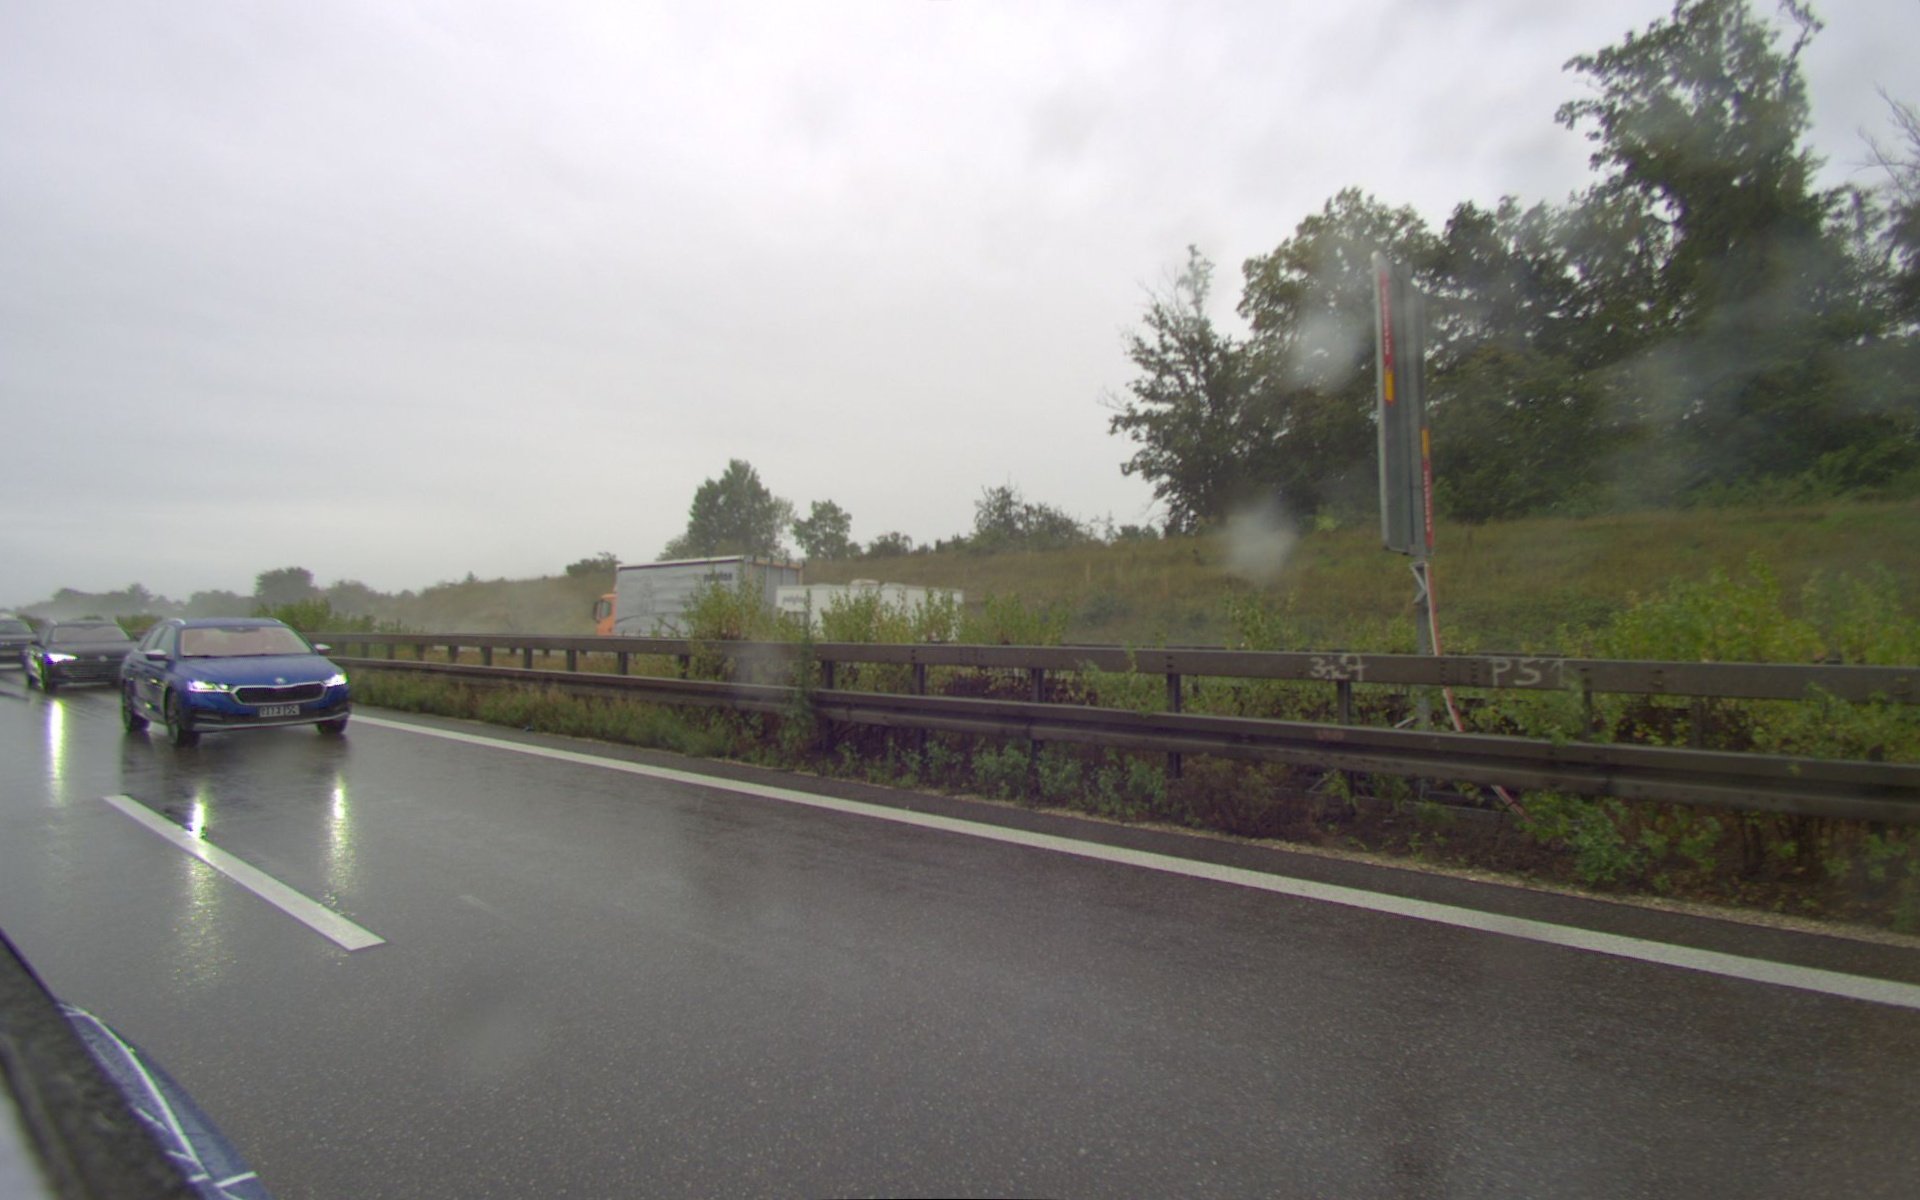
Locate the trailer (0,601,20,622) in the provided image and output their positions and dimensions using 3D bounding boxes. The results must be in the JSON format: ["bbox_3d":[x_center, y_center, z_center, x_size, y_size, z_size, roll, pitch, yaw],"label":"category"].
[{"bbox_3d":[-129.526,1.538,137.190,7.323,2.739,2.454,0,-2,43],"label":"trailer"}]

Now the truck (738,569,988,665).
[{"bbox_3d":[-3.067,0.483,29.945,7.887,2.499,2.624,-1,0,40],"label":"truck"}]

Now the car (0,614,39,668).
[{"bbox_3d":[-30.991,1.305,32.334,4.267,1.644,1.864,-2,-1,41],"label":"car"}]

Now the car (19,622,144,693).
[{"bbox_3d":[-19.923,1.249,22.897,4.369,1.447,1.592,-2,-1,42],"label":"car"}]

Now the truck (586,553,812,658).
[{"bbox_3d":[-9.444,0.303,35.799,9.248,3.306,2.896,-2,-1,40],"label":"truck"}]

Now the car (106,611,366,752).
[{"bbox_3d":[-9.397,0.930,12.983,4.510,1.487,1.767,-2,-1,42],"label":"car"}]
